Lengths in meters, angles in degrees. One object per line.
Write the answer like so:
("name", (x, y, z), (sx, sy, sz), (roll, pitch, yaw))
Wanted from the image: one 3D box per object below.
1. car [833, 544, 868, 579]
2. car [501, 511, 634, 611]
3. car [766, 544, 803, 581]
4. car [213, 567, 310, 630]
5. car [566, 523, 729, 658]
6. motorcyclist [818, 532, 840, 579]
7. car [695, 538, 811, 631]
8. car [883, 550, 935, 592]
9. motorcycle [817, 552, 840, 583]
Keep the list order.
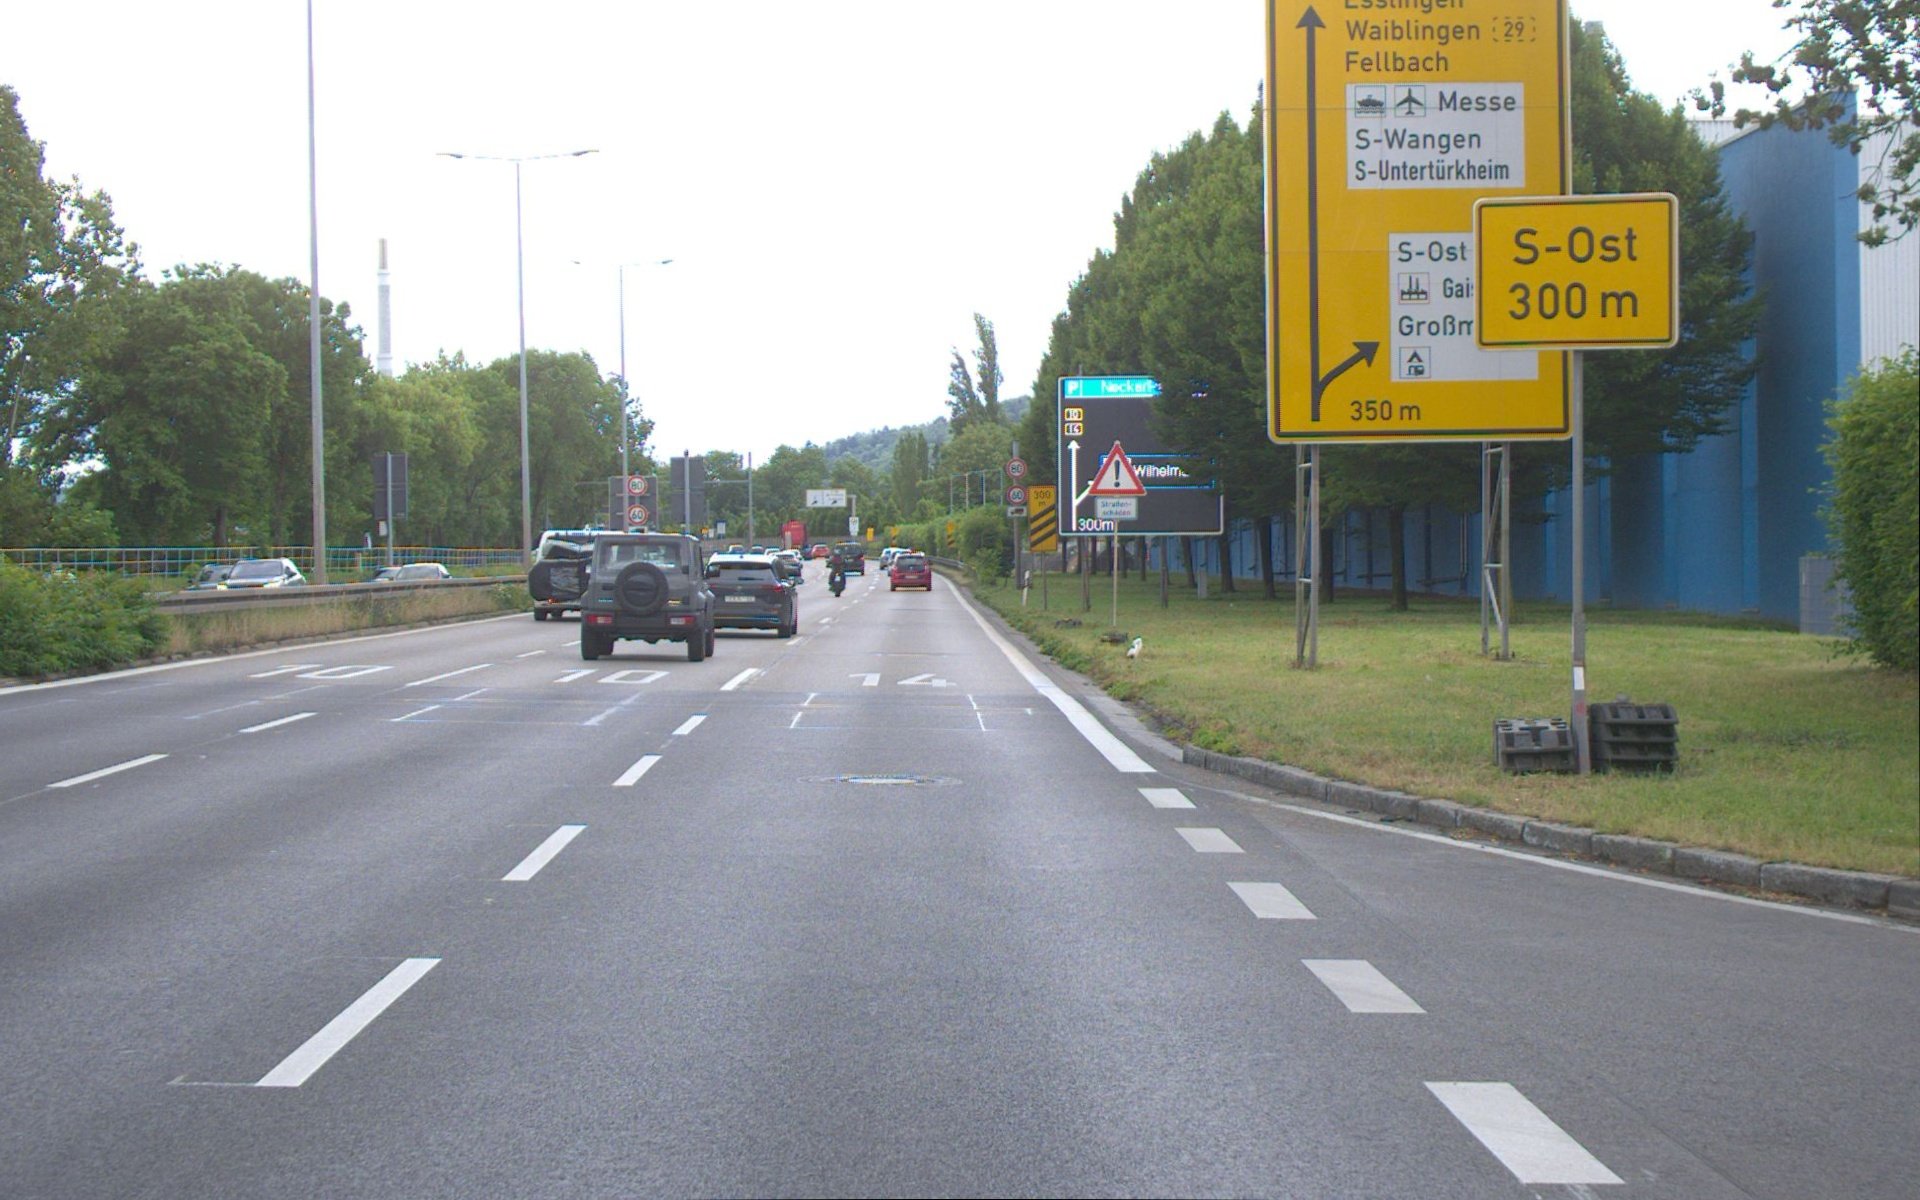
("car", (-6.635, -2.323, 208.294), (1.993, 2.007, 4.000), (2, 1, -1))
("car", (-8.066, -0.839, 71.104), (2.214, 1.919, 5.003), (2, 1, -1))
("car", (-10.149, -2.179, 199.054), (1.993, 2.007, 4.000), (2, 1, -1))
("car", (-20.007, -0.056, 98.559), (1.993, 1.634, 4.001), (2, 1, -1))
("car", (-4.189, -0.168, 46.589), (1.907, 1.678, 4.001), (2, 1, -2))
("motorcyclist", (-4.652, -1.580, 121.871), (0.685, 1.604, 0.845), (2, 1, 0))
("car", (-3.582, -0.296, 59.980), (1.840, 1.459, 4.001), (2, 2, -1))
("car", (-2.085, -1.198, 139.703), (1.993, 1.546, 4.001), (2, 1, -2))
("motorcycle", (-4.655, -1.161, 121.874), (0.706, 1.036, 2.027), (2, 1, 0))
